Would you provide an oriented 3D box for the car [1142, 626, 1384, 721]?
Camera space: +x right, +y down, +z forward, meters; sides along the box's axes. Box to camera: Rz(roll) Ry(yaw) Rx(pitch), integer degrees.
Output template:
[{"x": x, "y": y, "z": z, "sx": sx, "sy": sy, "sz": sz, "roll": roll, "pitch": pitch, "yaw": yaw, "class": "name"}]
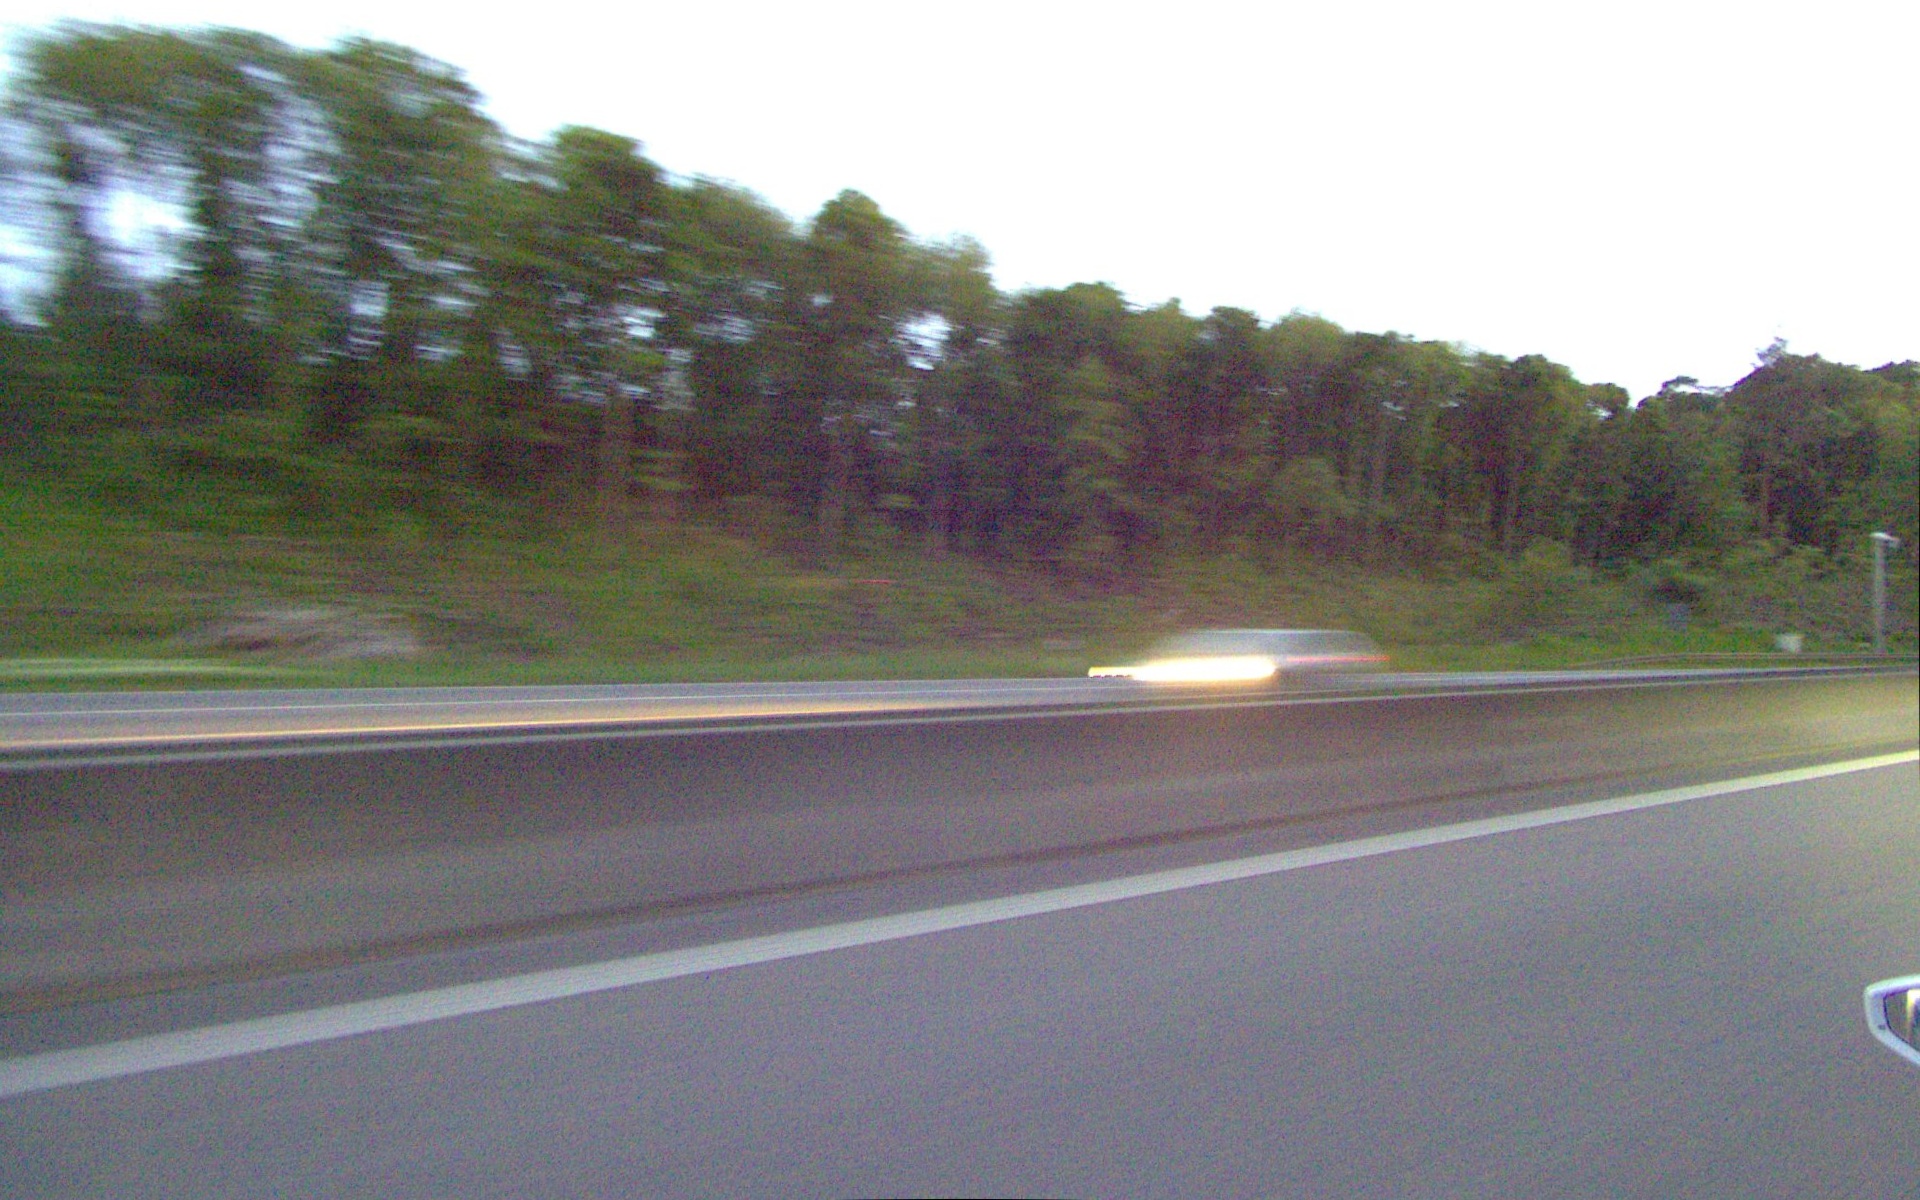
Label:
[{"x": 5.858, "y": 1.344, "z": 19.251, "sx": 4.602, "sy": 1.595, "sz": 1.871, "roll": 2, "pitch": -1, "yaw": -32, "class": "car"}]
